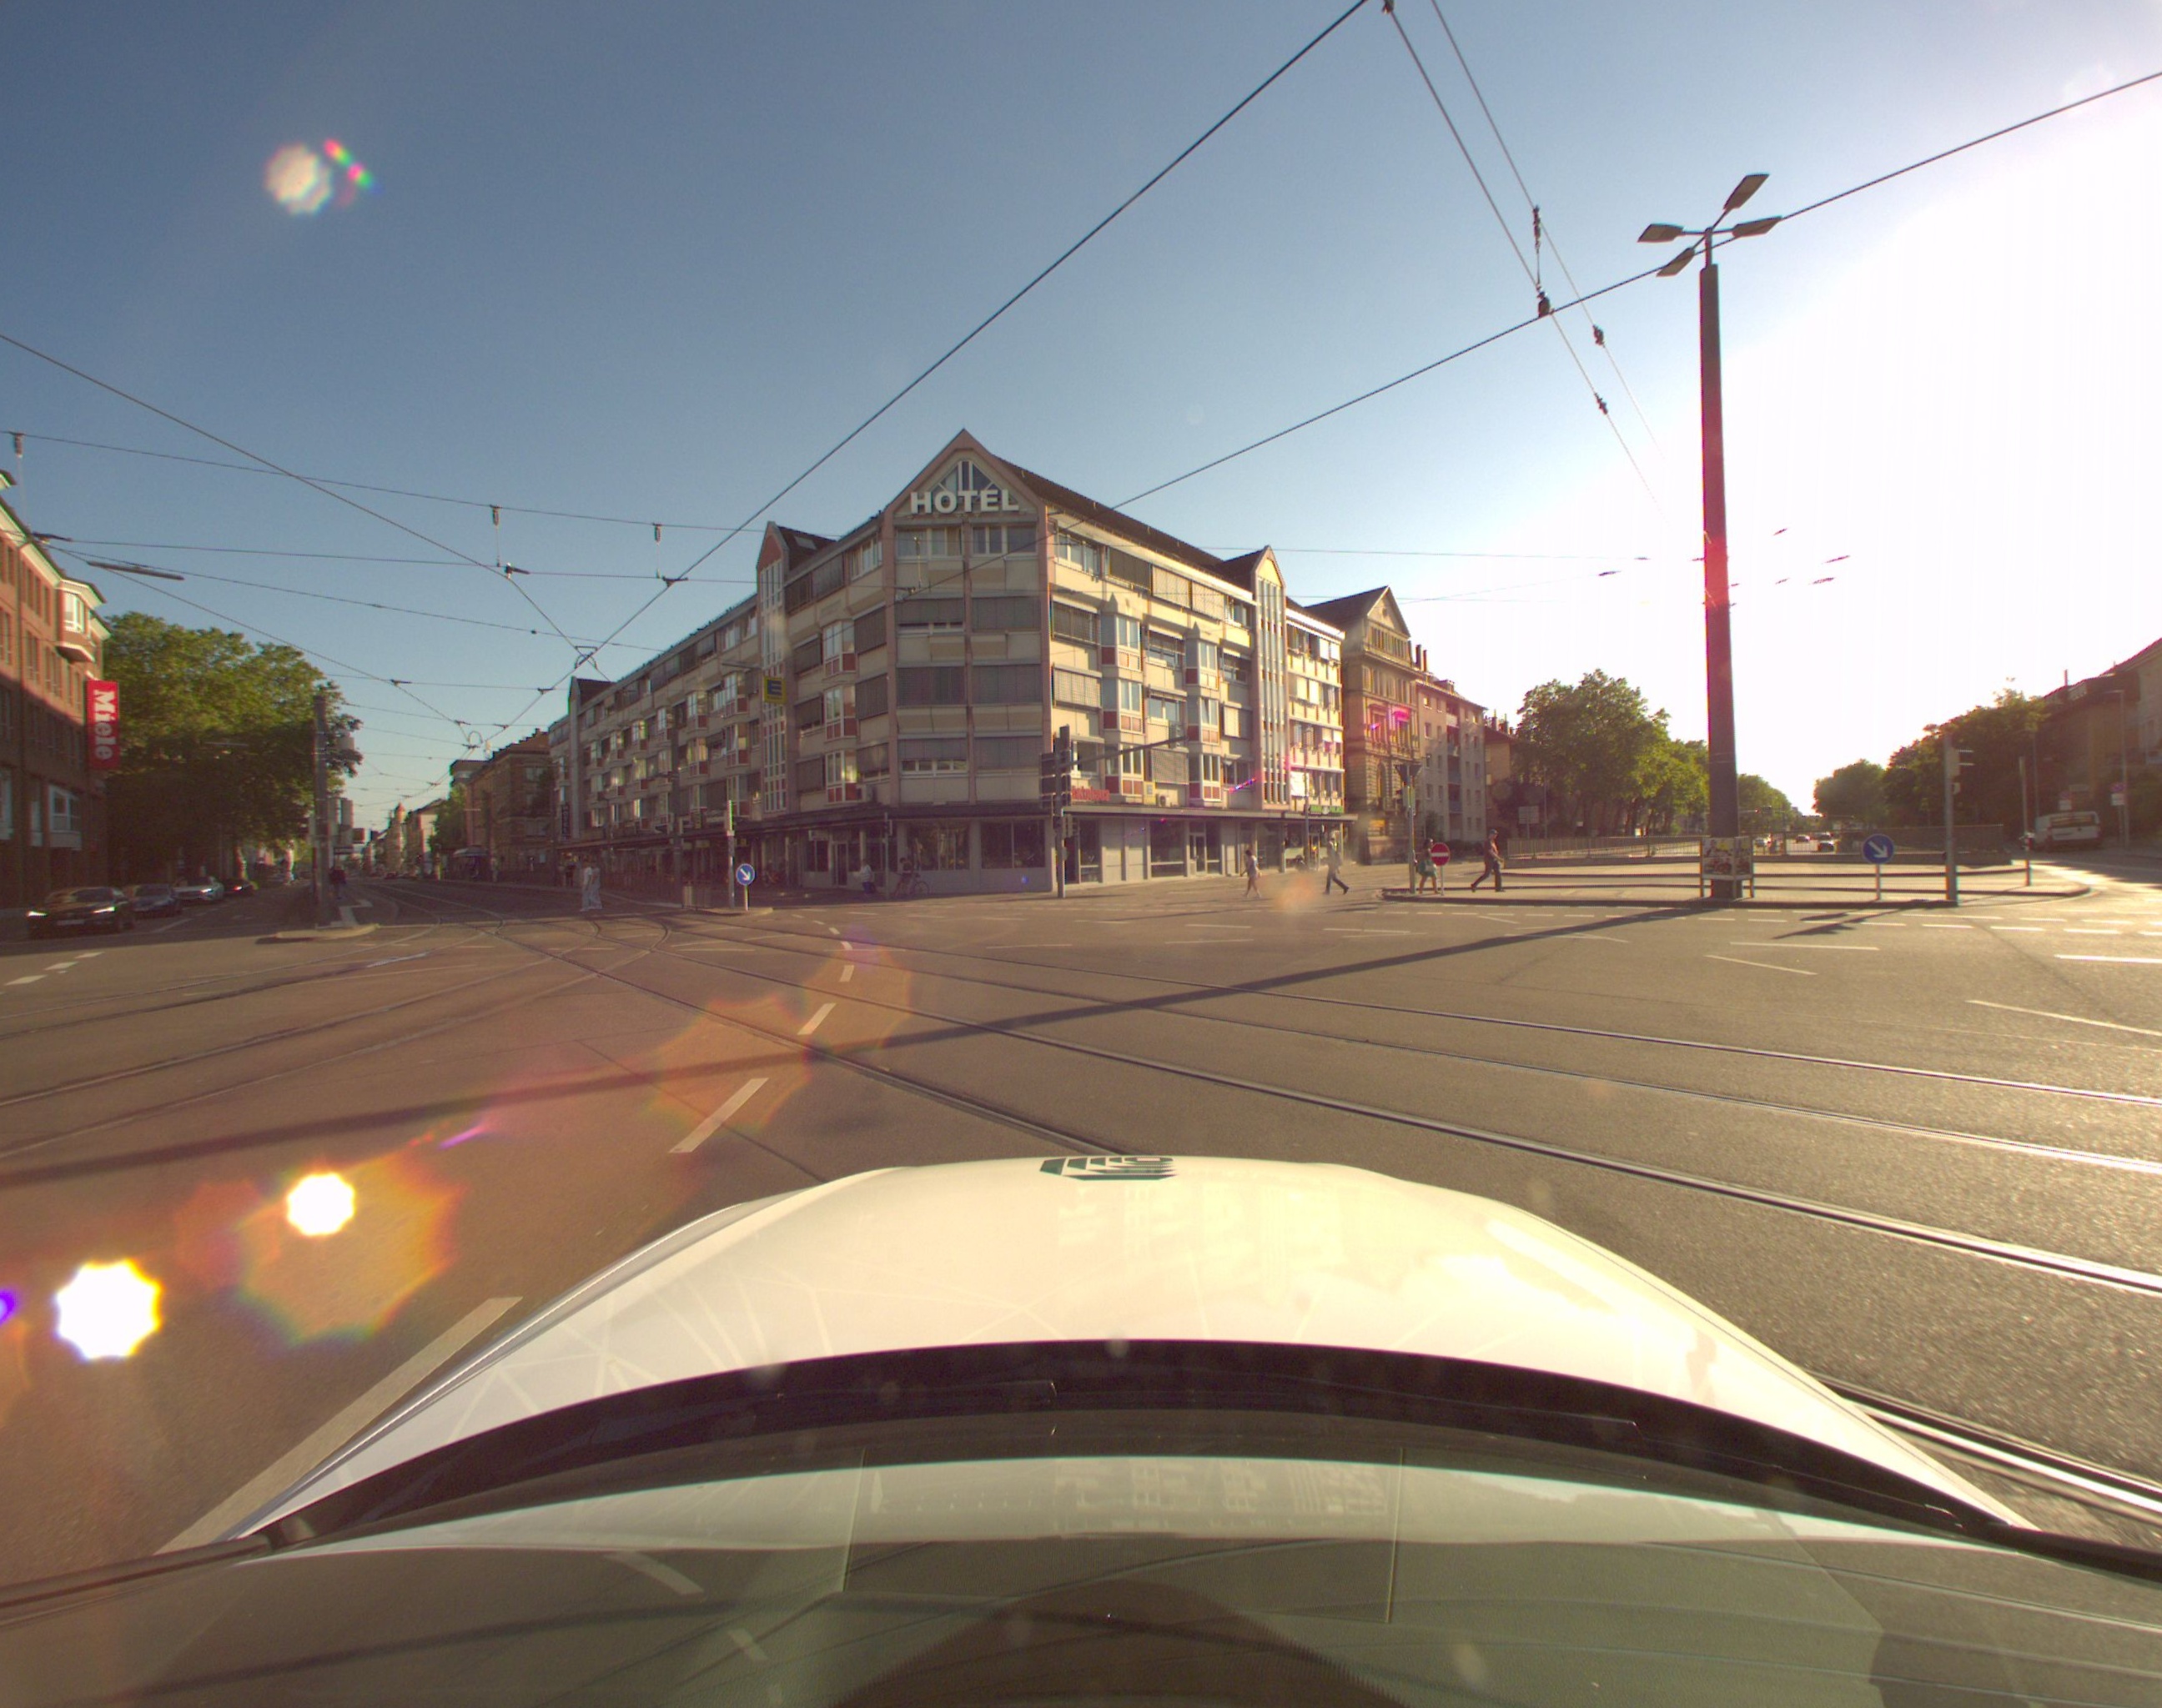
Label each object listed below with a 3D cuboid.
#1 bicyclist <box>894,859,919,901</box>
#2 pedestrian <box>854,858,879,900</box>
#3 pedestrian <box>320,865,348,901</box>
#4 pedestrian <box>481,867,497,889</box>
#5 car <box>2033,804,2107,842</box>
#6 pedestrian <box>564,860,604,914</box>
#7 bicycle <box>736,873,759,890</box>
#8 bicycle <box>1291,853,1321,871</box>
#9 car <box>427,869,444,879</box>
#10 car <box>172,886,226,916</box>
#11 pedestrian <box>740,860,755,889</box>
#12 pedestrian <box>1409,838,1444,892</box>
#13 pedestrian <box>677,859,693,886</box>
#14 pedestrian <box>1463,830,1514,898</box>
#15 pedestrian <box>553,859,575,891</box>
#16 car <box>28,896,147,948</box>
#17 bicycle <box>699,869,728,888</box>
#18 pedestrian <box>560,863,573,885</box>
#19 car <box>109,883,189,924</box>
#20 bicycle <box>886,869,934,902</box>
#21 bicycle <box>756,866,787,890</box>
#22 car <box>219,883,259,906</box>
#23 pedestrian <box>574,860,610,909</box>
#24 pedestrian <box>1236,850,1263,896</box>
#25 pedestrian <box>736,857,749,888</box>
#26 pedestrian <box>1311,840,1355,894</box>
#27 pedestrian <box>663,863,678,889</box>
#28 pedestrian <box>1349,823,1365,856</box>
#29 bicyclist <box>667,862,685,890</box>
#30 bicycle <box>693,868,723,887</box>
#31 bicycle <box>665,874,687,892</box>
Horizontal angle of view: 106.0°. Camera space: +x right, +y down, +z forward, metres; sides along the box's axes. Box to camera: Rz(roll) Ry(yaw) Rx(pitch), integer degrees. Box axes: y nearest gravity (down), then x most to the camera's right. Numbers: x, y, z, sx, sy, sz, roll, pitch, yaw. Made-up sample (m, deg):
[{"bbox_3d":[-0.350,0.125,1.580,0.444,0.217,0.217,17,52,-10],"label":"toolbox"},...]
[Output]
[{"bbox_3d":[-6.973,1.013,32.477,0.662,1.596,0.633,-5,4,-45],"label":"bicyclist"},{"bbox_3d":[-8.780,1.015,33.322,0.708,1.662,0.636,-2,0,18],"label":"pedestrian"},{"bbox_3d":[-33.004,1.278,35.994,0.614,1.577,0.695,0,1,21],"label":"pedestrian"},{"bbox_3d":[-46.087,1.879,63.406,0.675,1.659,0.786,0,1,36],"label":"pedestrian"},{"bbox_3d":[59.670,-1.860,49.234,2.264,2.172,4.863,0,1,43],"label":"car"},{"bbox_3d":[-16.844,1.098,27.625,0.504,1.764,1.011,0,1,22],"label":"pedestrian"},{"bbox_3d":[-18.769,1.541,45.762,0.504,0.917,2.053,-1,0,-43],"label":"bicycle"},{"bbox_3d":[13.683,0.470,49.569,2.099,1.070,0.448,-1,1,-32],"label":"bicycle"},{"bbox_3d":[-111.393,3.403,140.470,2.011,1.552,3.952,-1,1,-42],"label":"car"},{"bbox_3d":[-51.160,2.689,47.282,1.760,1.424,3.890,-1,1,-42],"label":"car"},{"bbox_3d":[-19.373,1.182,47.302,0.607,1.635,0.603,0,1,-3],"label":"pedestrian"},{"bbox_3d":[9.554,0.286,22.516,0.698,1.453,0.862,0,1,37],"label":"pedestrian"},{"bbox_3d":[-26.871,1.264,55.253,0.820,1.778,0.676,-1,1,-18],"label":"pedestrian"},{"bbox_3d":[11.654,0.259,23.287,1.183,1.883,0.862,0,1,37],"label":"pedestrian"},{"bbox_3d":[-27.779,1.121,43.768,0.675,1.659,0.786,0,1,36],"label":"pedestrian"},{"bbox_3d":[-31.450,2.098,25.904,1.760,1.244,3.891,-1,1,-41],"label":"car"},{"bbox_3d":[-23.505,1.551,52.090,0.478,1.119,1.659,0,1,42],"label":"bicycle"},{"bbox_3d":[-46.856,1.801,74.186,0.846,2.013,0.768,-1,1,-39],"label":"pedestrian"},{"bbox_3d":[-39.637,2.069,34.726,1.760,1.424,3.890,-1,1,-42],"label":"car"},{"bbox_3d":[-6.850,1.229,32.606,1.780,1.145,0.633,-5,4,-45],"label":"bicycle"},{"bbox_3d":[-16.621,1.269,43.677,0.734,1.226,2.304,-1,0,-43],"label":"bicycle"},{"bbox_3d":[-61.901,2.985,59.941,1.760,1.424,3.890,-1,1,-42],"label":"car"},{"bbox_3d":[-17.180,1.063,28.625,0.618,1.694,0.870,0,1,10],"label":"pedestrian"},{"bbox_3d":[5.457,0.613,26.397,0.848,1.465,0.688,0,-4,13],"label":"pedestrian"},{"bbox_3d":[-20.570,1.112,49.492,0.614,1.852,0.597,-1,1,-38],"label":"pedestrian"},{"bbox_3d":[8.342,0.409,26.966,1.183,1.731,0.862,0,1,37],"label":"pedestrian"},{"bbox_3d":[-26.564,1.432,52.742,0.757,1.644,0.544,-1,1,-39],"label":"pedestrian"},{"bbox_3d":[20.318,-1.042,59.946,0.917,2.398,0.967,0,1,31],"label":"pedestrian"},{"bbox_3d":[-23.294,1.278,46.846,0.632,1.532,0.792,-5,3,-41],"label":"bicyclist"},{"bbox_3d":[-24.359,1.535,53.217,0.559,1.119,1.659,0,1,42],"label":"bicycle"},{"bbox_3d":[-23.342,1.646,46.932,0.632,0.930,1.888,-5,3,-41],"label":"bicycle"}]
